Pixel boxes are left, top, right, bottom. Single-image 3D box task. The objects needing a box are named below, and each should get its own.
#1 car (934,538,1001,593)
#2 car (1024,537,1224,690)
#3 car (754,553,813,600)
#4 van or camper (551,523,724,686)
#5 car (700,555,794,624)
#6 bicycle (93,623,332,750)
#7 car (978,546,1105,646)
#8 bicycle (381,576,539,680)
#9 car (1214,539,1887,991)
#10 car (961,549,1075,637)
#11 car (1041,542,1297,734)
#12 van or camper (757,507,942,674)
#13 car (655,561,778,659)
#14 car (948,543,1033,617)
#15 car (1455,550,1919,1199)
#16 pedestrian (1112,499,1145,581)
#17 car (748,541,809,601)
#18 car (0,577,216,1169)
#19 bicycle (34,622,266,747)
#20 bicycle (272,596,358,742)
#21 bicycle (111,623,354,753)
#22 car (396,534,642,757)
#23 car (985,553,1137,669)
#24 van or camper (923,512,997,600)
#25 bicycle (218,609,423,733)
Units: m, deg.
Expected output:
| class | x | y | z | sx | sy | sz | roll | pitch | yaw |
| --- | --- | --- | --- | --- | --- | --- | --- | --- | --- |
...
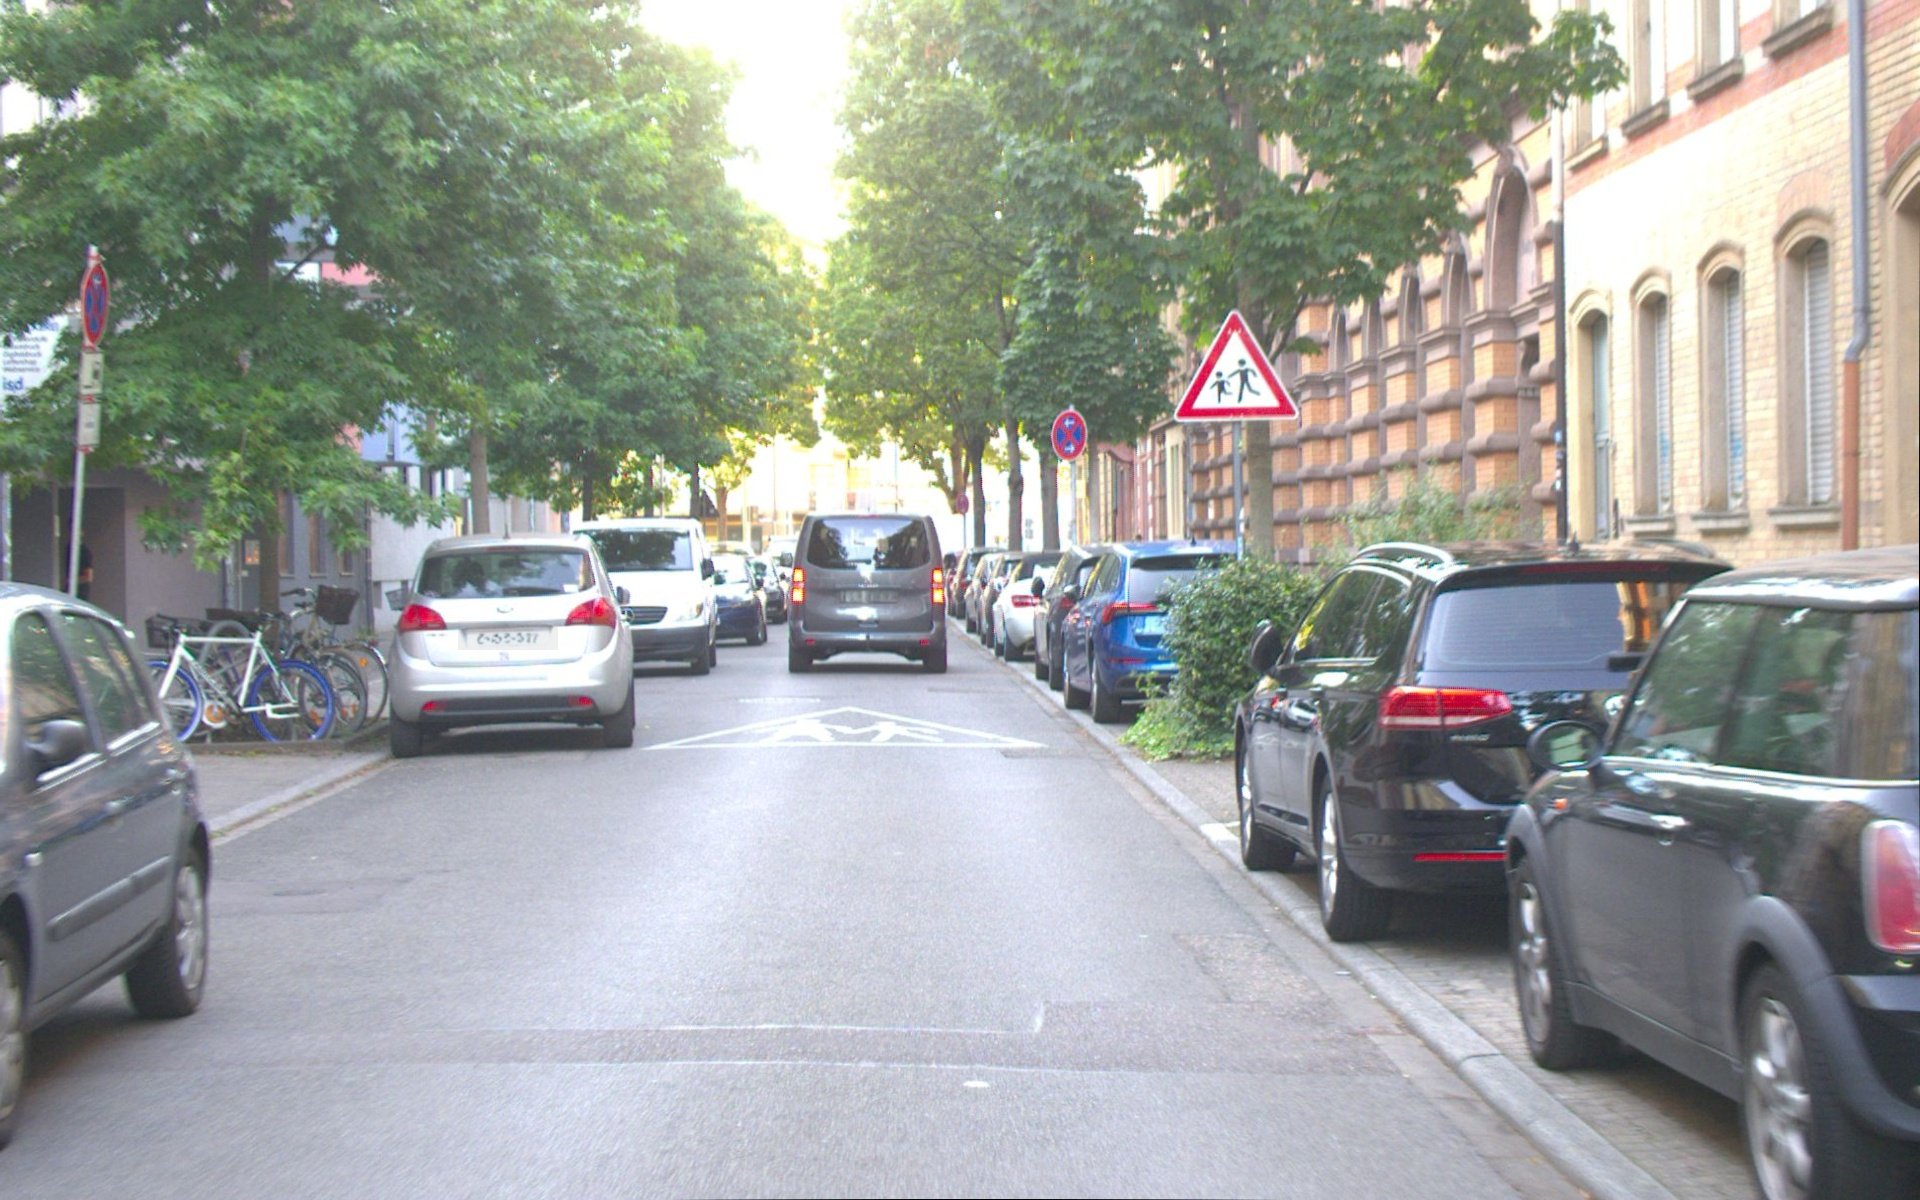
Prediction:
| class | x | y | z | sx | sy | sz | roll | pitch | yaw |
| --- | --- | --- | --- | --- | --- | --- | --- | --- | --- |
| car | 0.186 | -0.955 | 93.917 | 1.750 | 1.466 | 3.776 | -1 | 1 | -1 |
| car | 1.642 | 0.098 | 35.751 | 1.711 | 1.472 | 4.193 | -1 | 1 | -2 |
| car | -5.555 | -0.755 | 108.618 | 1.741 | 1.399 | 3.375 | -1 | 1 | -2 |
| van or camper | -3.875 | 0.009 | 41.925 | 1.876 | 1.836 | 4.753 | -1 | 1 | -3 |
| car | -4.576 | -0.245 | 74.331 | 1.846 | 1.446 | 4.503 | 0 | 1 | -1 |
| bicycle | -5.534 | 0.629 | 25.506 | 1.699 | 0.895 | 0.383 | 0 | 1 | -31 |
| car | 1.218 | -0.073 | 52.991 | 1.722 | 1.445 | 4.215 | -2 | 0 | -1 |
| bicycle | -5.940 | 0.323 | 40.886 | 0.698 | 1.159 | 1.818 | -1 | 1 | 41 |
| car | 2.124 | 0.511 | 13.631 | 1.766 | 1.410 | 4.474 | -3 | 1 | -1 |
| car | 1.029 | -0.146 | 62.896 | 1.697 | 1.477 | 4.001 | -3 | 1 | -3 |
| car | 1.676 | 0.265 | 28.880 | 1.627 | 1.461 | 4.246 | -1 | 1 | -3 |
| van or camper | -1.270 | -0.142 | 41.383 | 2.035 | 1.891 | 4.271 | 0 | 1 | 1 |
| car | -3.943 | 0.136 | 56.273 | 1.830 | 1.512 | 4.516 | -1 | 0 | -2 |
| car | 0.661 | -0.463 | 76.716 | 1.611 | 1.553 | 3.767 | -2 | 1 | -3 |
| car | 2.365 | 0.608 | 8.312 | 1.635 | 1.419 | 3.565 | -2 | 1 | -3 |
| pedestrian | 3.387 | -1.207 | 69.194 | 0.627 | 1.643 | 0.532 | 0 | 1 | -1 |
| car | -5.046 | -0.820 | 96.040 | 1.630 | 1.425 | 3.544 | -1 | 4 | -2 |
| car | -3.159 | 0.676 | 9.235 | 1.580 | 1.415 | 3.753 | -1 | 1 | -2 |
| bicycle | -6.086 | 0.623 | 25.867 | 1.660 | 0.895 | 0.383 | 0 | 1 | -31 |
| bicycle | -5.066 | 0.524 | 27.055 | 0.419 | 1.100 | 1.665 | 0 | 1 | -2 |
| bicycle | -5.304 | 0.634 | 25.108 | 1.699 | 0.904 | 0.383 | 0 | 1 | -31 |
| car | -3.347 | 0.298 | 26.671 | 1.663 | 1.558 | 4.001 | -1 | 1 | -4 |
| car | 1.293 | 0.108 | 45.655 | 1.693 | 1.396 | 4.646 | -2 | 1 | -2 |
| van or camper | -0.032 | -1.339 | 104.893 | 1.993 | 2.590 | 5.425 | -1 | 1 | -3 |
| bicycle | -5.337 | 0.586 | 28.643 | 1.728 | 0.991 | 0.575 | -1 | 1 | 32 |
